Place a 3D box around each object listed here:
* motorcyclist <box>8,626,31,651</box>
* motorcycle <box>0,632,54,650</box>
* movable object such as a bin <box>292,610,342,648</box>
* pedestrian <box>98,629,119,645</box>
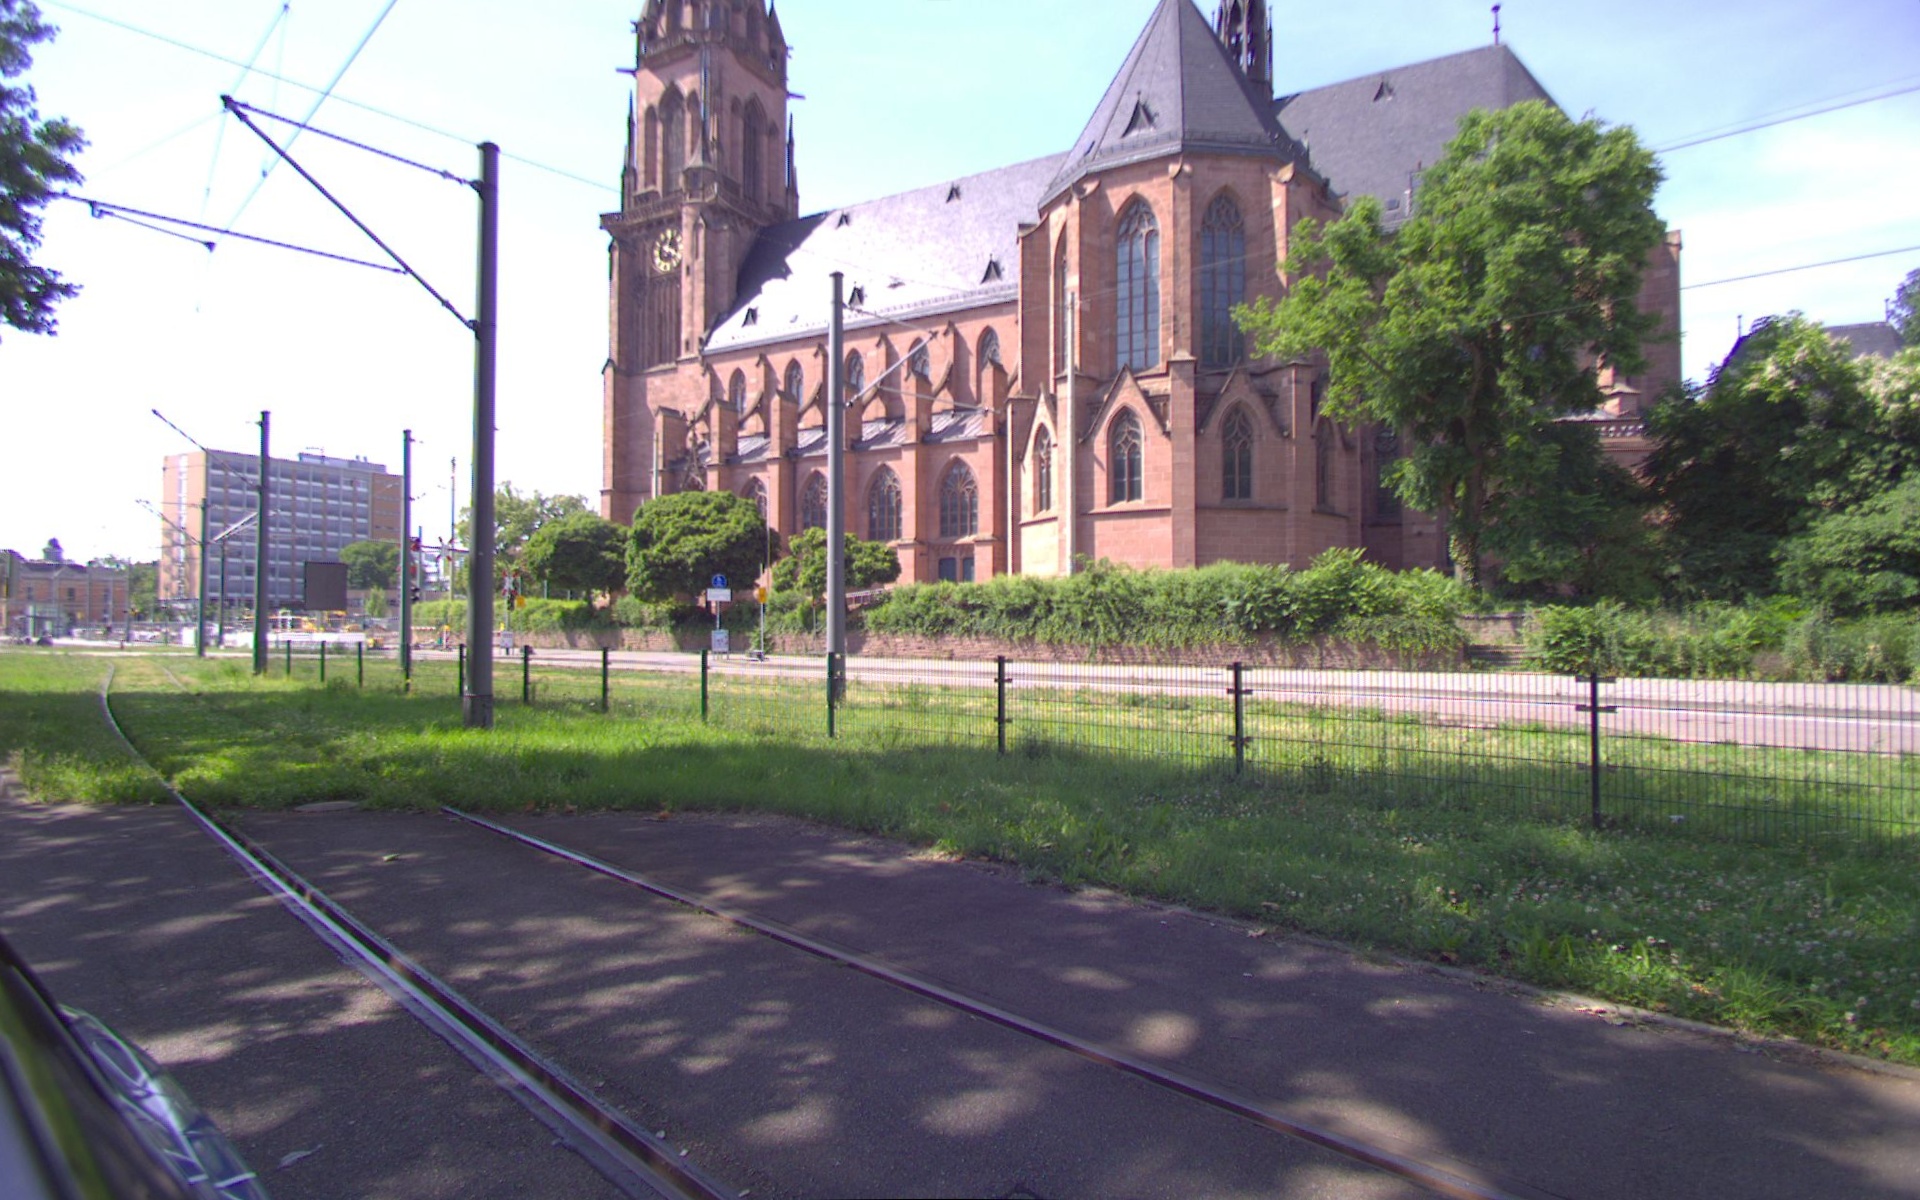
[{"bbox_3d":[-73.431,2.977,79.019,1.089,1.945,1.337,1,-2,-34],"label":"motorcyclist"},{"bbox_3d":[-73.456,3.205,79.001,3.872,1.349,1.248,1,-2,-35],"label":"motorcycle"},{"bbox_3d":[-67.187,3.001,105.826,2.904,3.911,3.327,0,-2,8],"label":"movable object such as a bin"},{"bbox_3d":[-93.282,4.047,110.879,1.420,1.820,1.409,-2,-2,37],"label":"pedestrian"}]
